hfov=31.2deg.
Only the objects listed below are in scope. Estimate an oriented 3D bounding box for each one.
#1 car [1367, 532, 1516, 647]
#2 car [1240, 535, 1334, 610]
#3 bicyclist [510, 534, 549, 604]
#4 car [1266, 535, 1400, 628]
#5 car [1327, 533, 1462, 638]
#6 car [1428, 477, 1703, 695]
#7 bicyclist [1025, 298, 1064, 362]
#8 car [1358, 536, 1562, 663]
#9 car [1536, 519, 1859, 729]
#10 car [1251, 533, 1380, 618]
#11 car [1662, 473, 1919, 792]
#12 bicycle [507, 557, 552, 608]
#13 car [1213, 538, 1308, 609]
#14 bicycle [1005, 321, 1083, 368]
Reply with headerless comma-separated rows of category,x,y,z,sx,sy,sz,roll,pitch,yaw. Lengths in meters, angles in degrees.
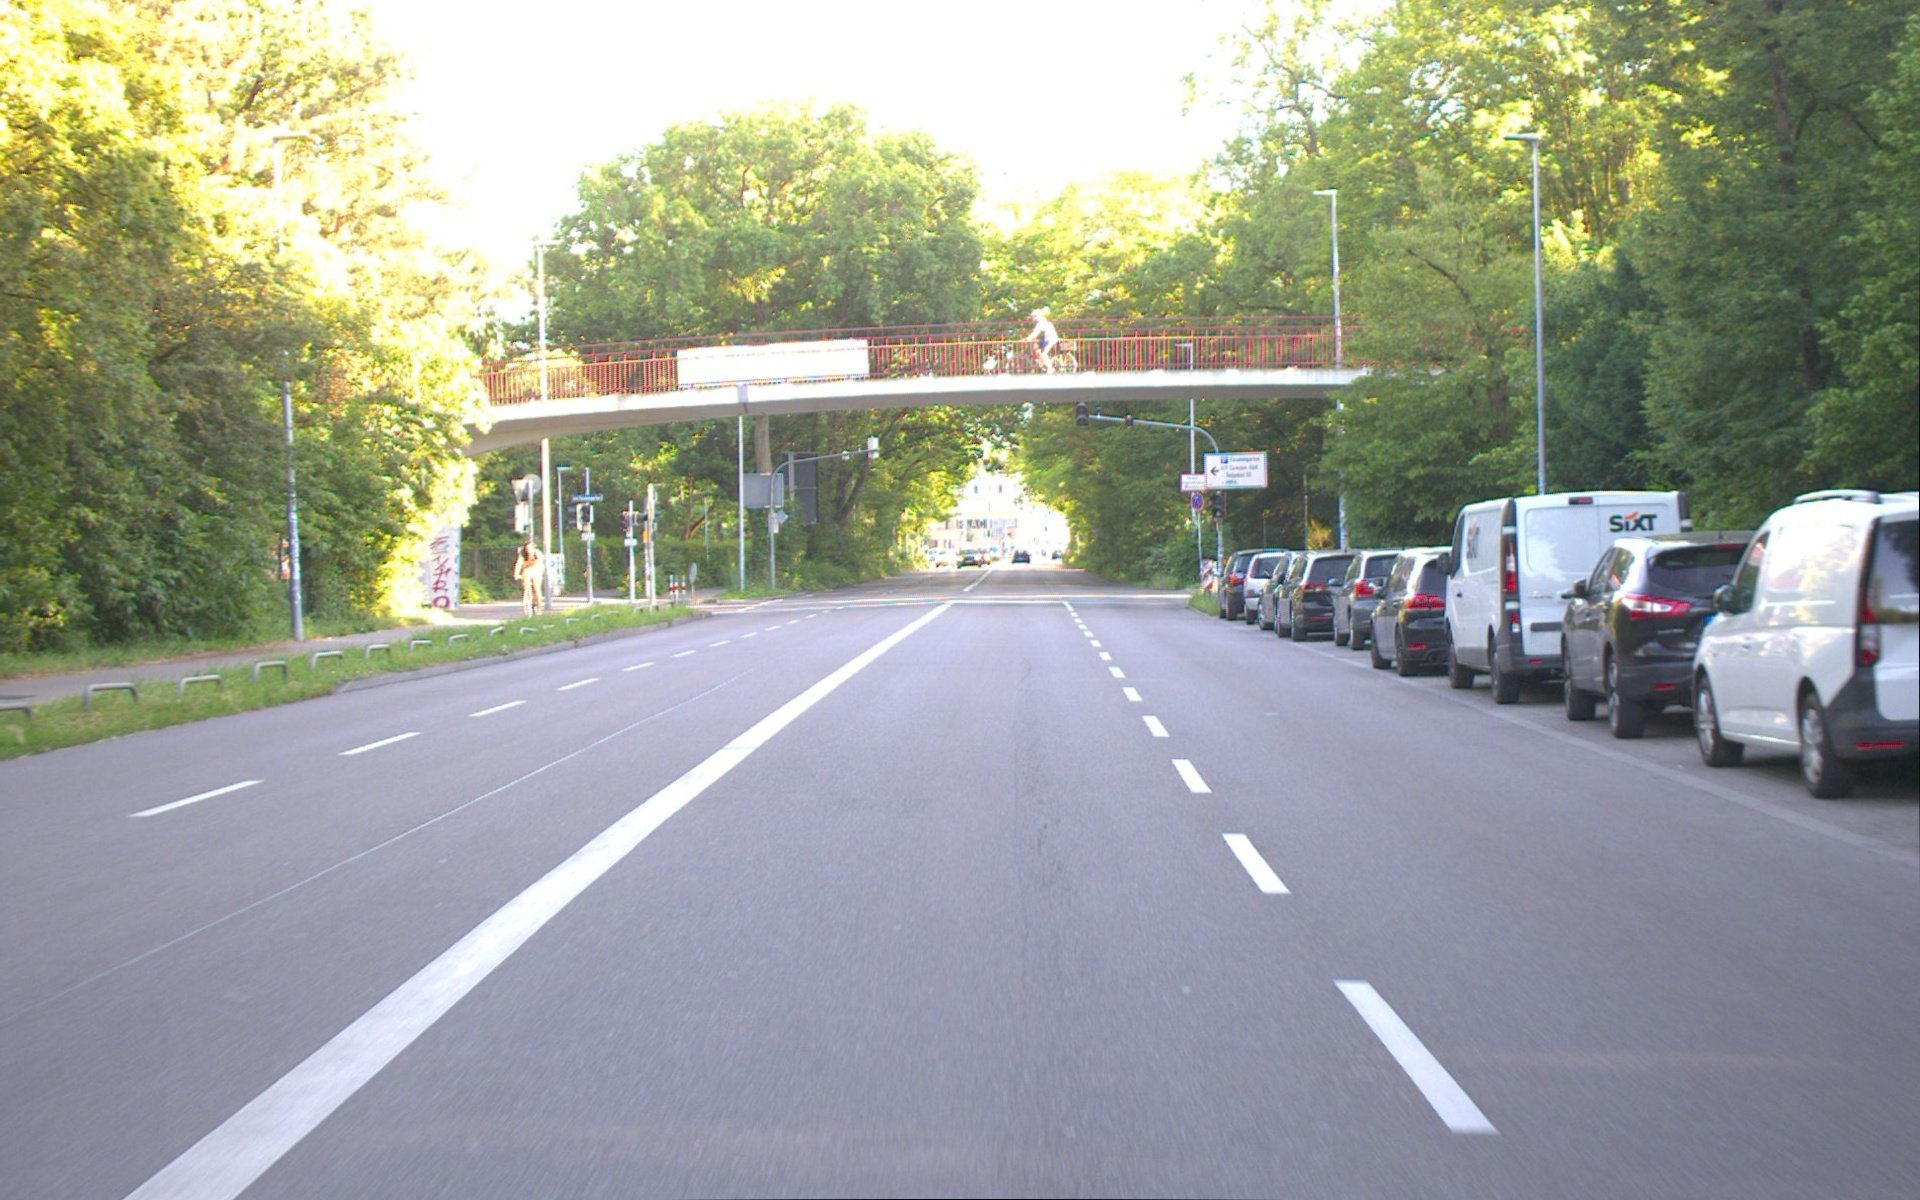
car,6.442,-0.153,46.256,1.586,1.449,3.798,-1,1,2
car,6.646,-0.564,70.198,1.774,1.449,4.014,-1,1,4
bicyclist,-9.751,-0.697,77.841,0.712,1.553,1.143,1,0,1
car,6.169,-0.316,57.282,1.637,1.449,4.898,-1,1,0
car,6.389,-0.227,50.912,1.586,1.449,3.943,-1,1,2
car,5.967,-0.158,34.502,1.869,1.974,5.475,-1,1,1
bicyclist,2.184,-6.996,89.079,0.970,1.580,0.714,1,0,0
car,5.912,-0.031,41.098,1.869,1.401,4.369,-1,1,1
car,5.941,0.156,28.178,1.759,1.542,4.429,-1,1,1
car,6.435,-0.455,62.712,1.774,1.449,5.038,-1,1,0
car,5.860,0.143,21.851,1.759,1.798,4.737,-1,1,0
bicycle,-9.741,-0.394,77.841,0.712,1.143,1.993,1,0,1
car,6.494,-0.583,74.614,1.774,1.449,4.388,-1,1,2
bicycle,2.166,-6.607,89.078,1.987,1.143,0.714,1,0,0
